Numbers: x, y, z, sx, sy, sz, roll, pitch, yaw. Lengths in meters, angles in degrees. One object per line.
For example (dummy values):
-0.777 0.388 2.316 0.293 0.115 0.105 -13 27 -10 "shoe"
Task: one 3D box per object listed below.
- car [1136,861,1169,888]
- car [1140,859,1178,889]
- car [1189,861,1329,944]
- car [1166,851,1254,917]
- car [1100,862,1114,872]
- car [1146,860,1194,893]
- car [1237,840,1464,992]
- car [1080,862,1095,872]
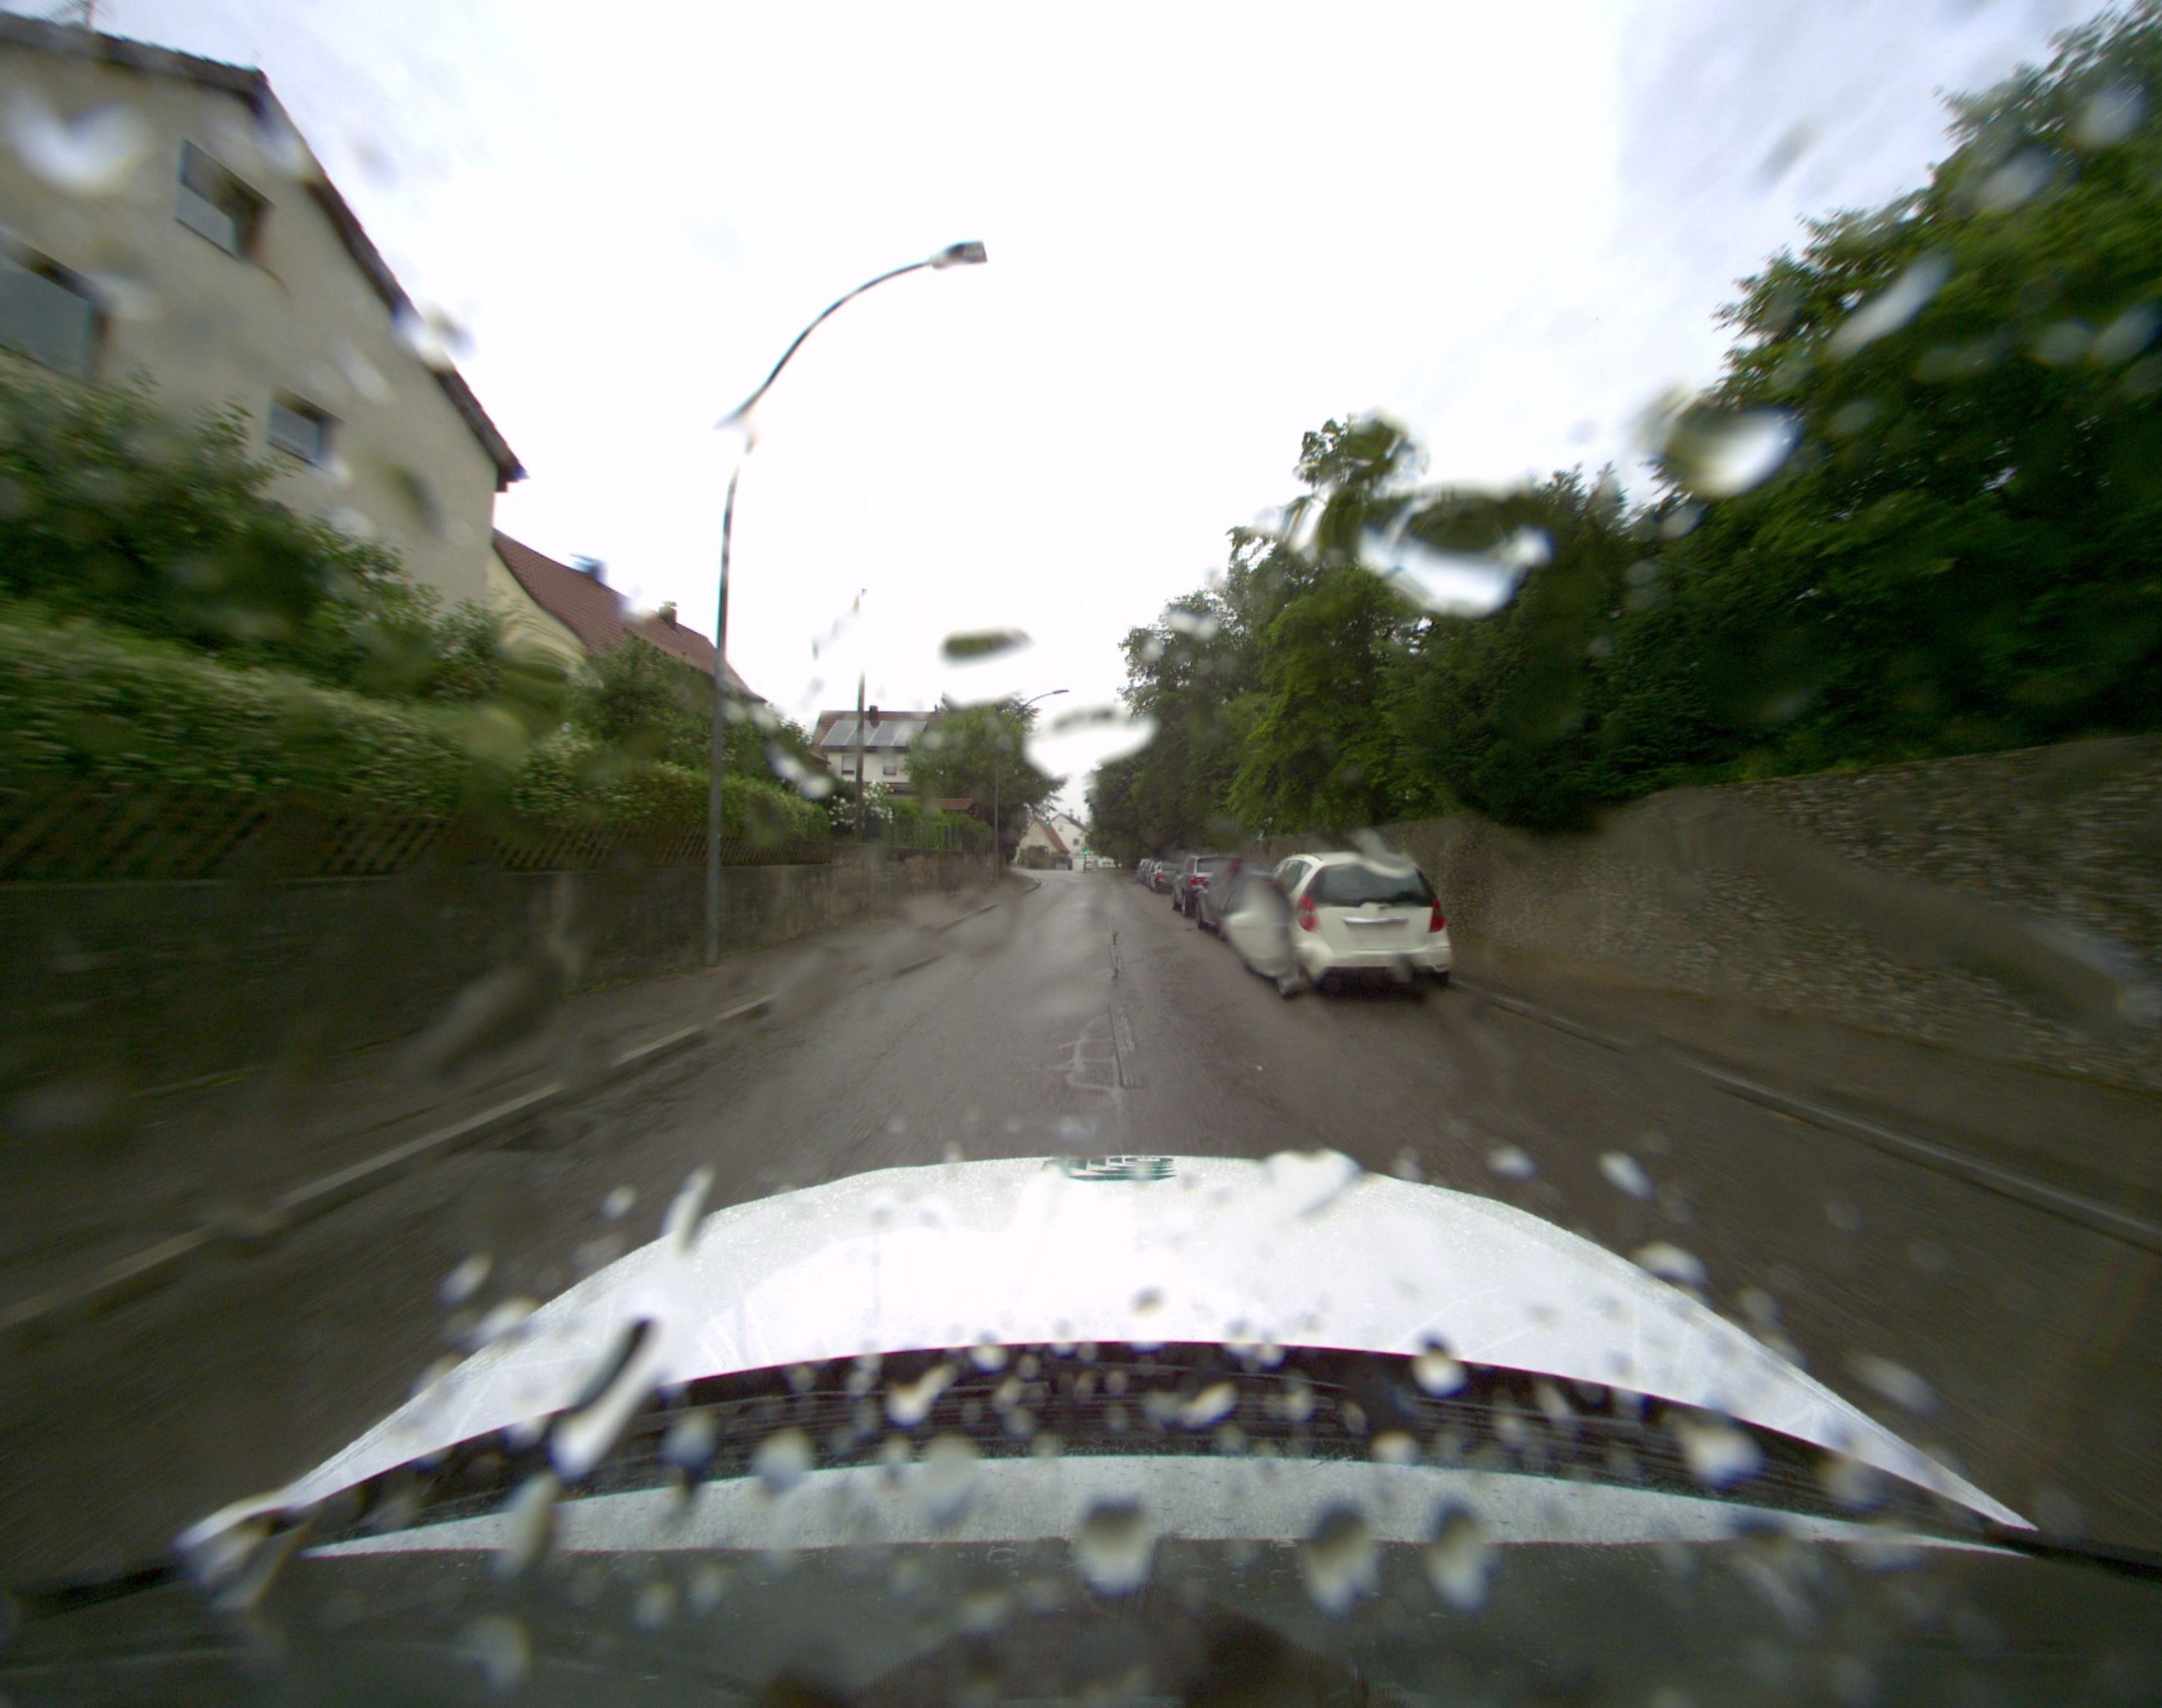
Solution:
4.092 1.189 47.305 1.641 1.497 4.247 1 -2 2 "car"
3.977 1.034 41.975 1.641 1.497 3.710 1 -2 2 "car"
3.399 0.877 16.479 1.759 1.447 4.694 0 -1 -1 "car"
3.469 0.789 22.711 1.736 1.668 4.496 0 -1 0 "car"
4.060 2.032 126.758 1.898 1.442 4.005 0 0 5 "car"
3.922 0.966 36.464 1.647 1.371 4.180 0 0 -1 "car"
3.163 0.672 10.401 1.807 1.574 3.883 0 -1 3 "car"
1.025 2.013 127.256 1.898 1.442 4.005 0 0 5 "car"
